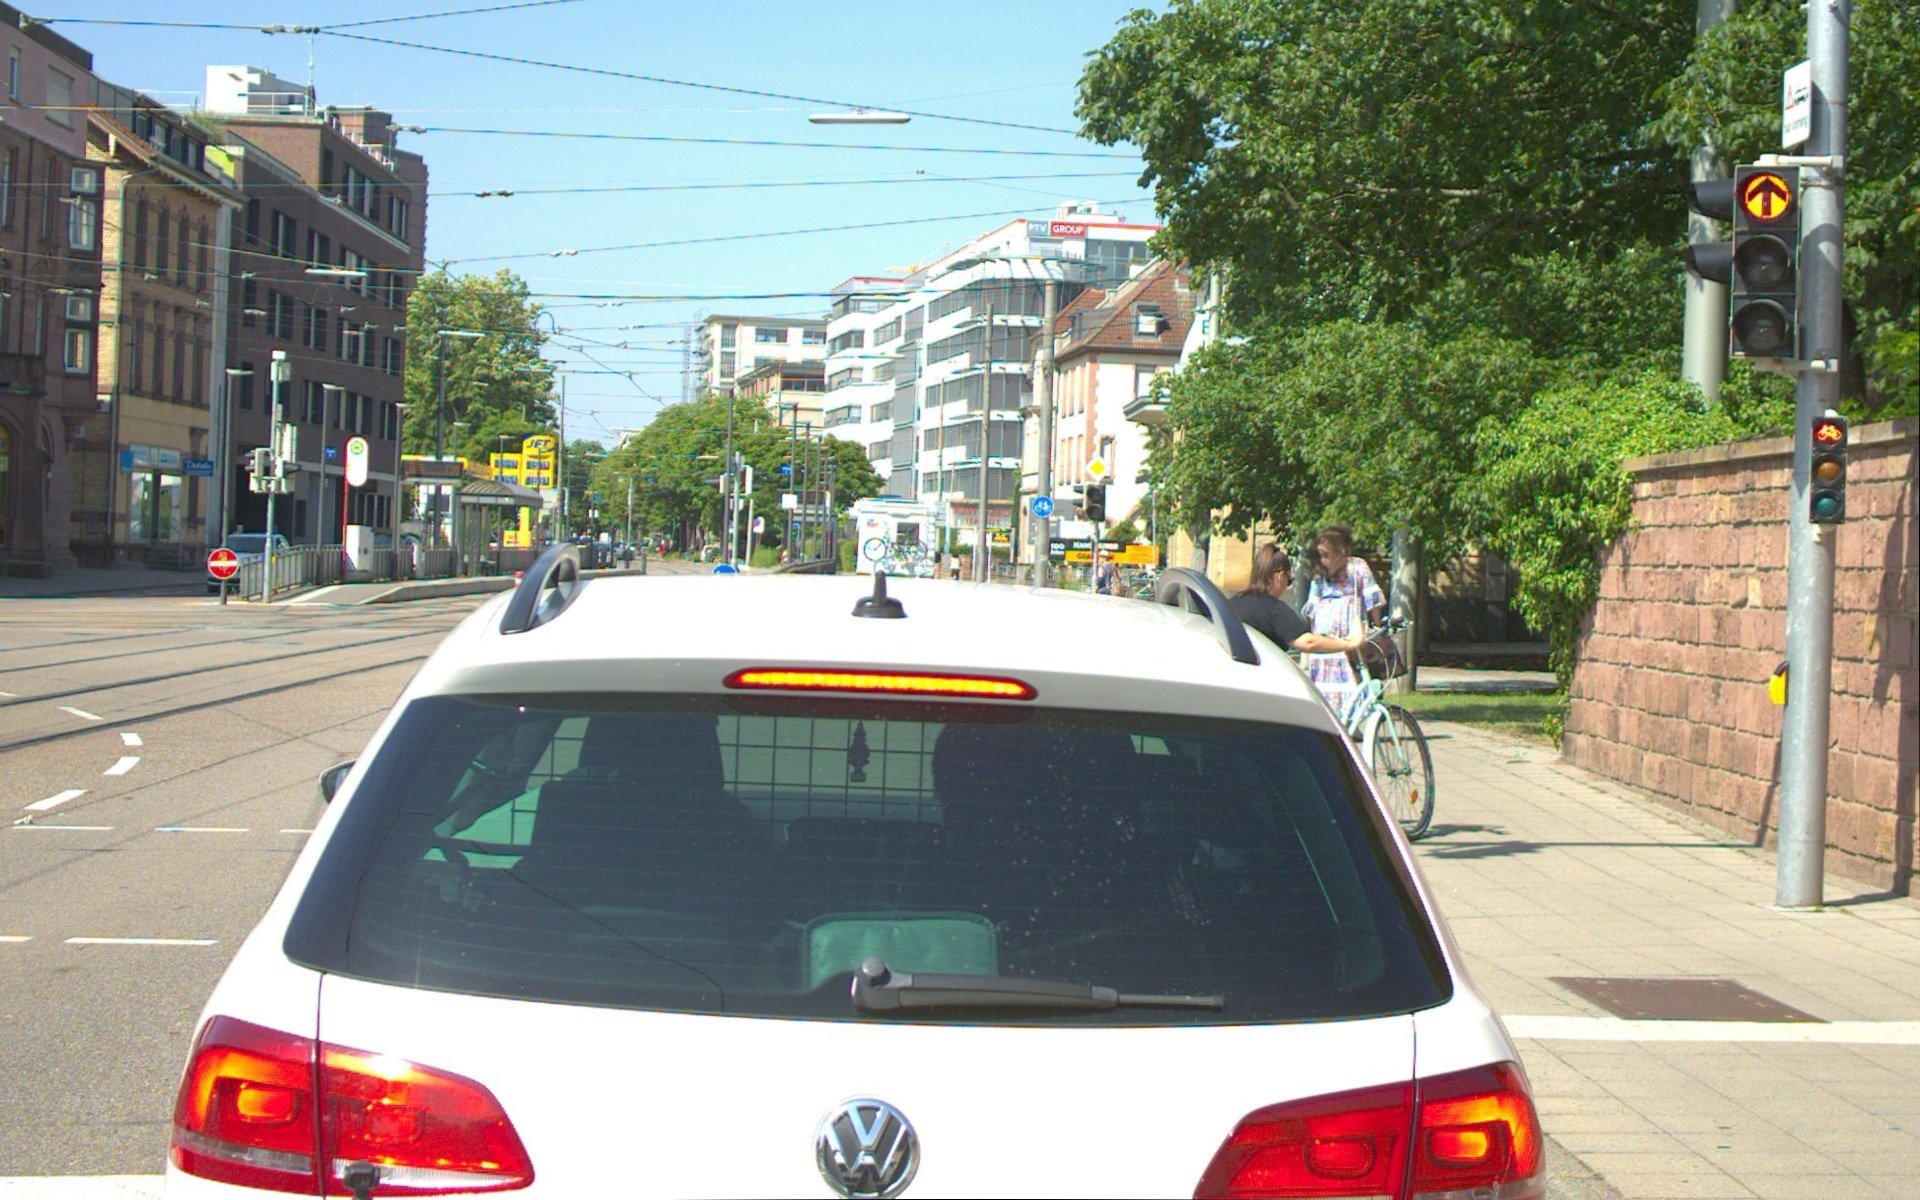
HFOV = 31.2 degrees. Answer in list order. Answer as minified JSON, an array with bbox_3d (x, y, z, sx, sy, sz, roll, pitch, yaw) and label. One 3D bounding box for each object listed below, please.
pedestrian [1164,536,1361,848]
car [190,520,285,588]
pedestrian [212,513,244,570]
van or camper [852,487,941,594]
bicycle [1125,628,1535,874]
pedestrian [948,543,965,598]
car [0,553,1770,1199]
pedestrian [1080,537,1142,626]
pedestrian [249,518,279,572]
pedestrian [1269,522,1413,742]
[{"bbox_3d":[1.566,0.461,17.863,0.745,1.566,0.675,0,2,-29],"label":"pedestrian"},{"bbox_3d":[-17.783,-1.114,84.726,1.740,1.612,4.000,0,0,-4],"label":"car"},{"bbox_3d":[-22.631,-1.793,106.344,0.861,1.737,0.975,0,0,-6],"label":"pedestrian"},{"bbox_3d":[-1.892,-1.722,102.005,2.566,3.082,5.703,0,0,-1],"label":"van or camper"},{"bbox_3d":[1.884,0.735,17.395,2.019,1.086,0.710,-2,3,-29],"label":"bicycle"},{"bbox_3d":[-0.161,-1.252,146.424,0.690,2.317,1.232,0,0,1],"label":"pedestrian"},{"bbox_3d":[-0.142,0.679,5.442,1.808,1.443,4.000,2,1,-1],"label":"car"},{"bbox_3d":[2.982,-0.360,68.071,0.861,1.737,0.975,0,0,-25],"label":"pedestrian"},{"bbox_3d":[-22.725,-1.795,112.259,0.861,1.737,0.975,0,0,-6],"label":"pedestrian"},{"bbox_3d":[2.928,0.238,26.351,0.953,1.645,0.974,0,0,15],"label":"pedestrian"}]
